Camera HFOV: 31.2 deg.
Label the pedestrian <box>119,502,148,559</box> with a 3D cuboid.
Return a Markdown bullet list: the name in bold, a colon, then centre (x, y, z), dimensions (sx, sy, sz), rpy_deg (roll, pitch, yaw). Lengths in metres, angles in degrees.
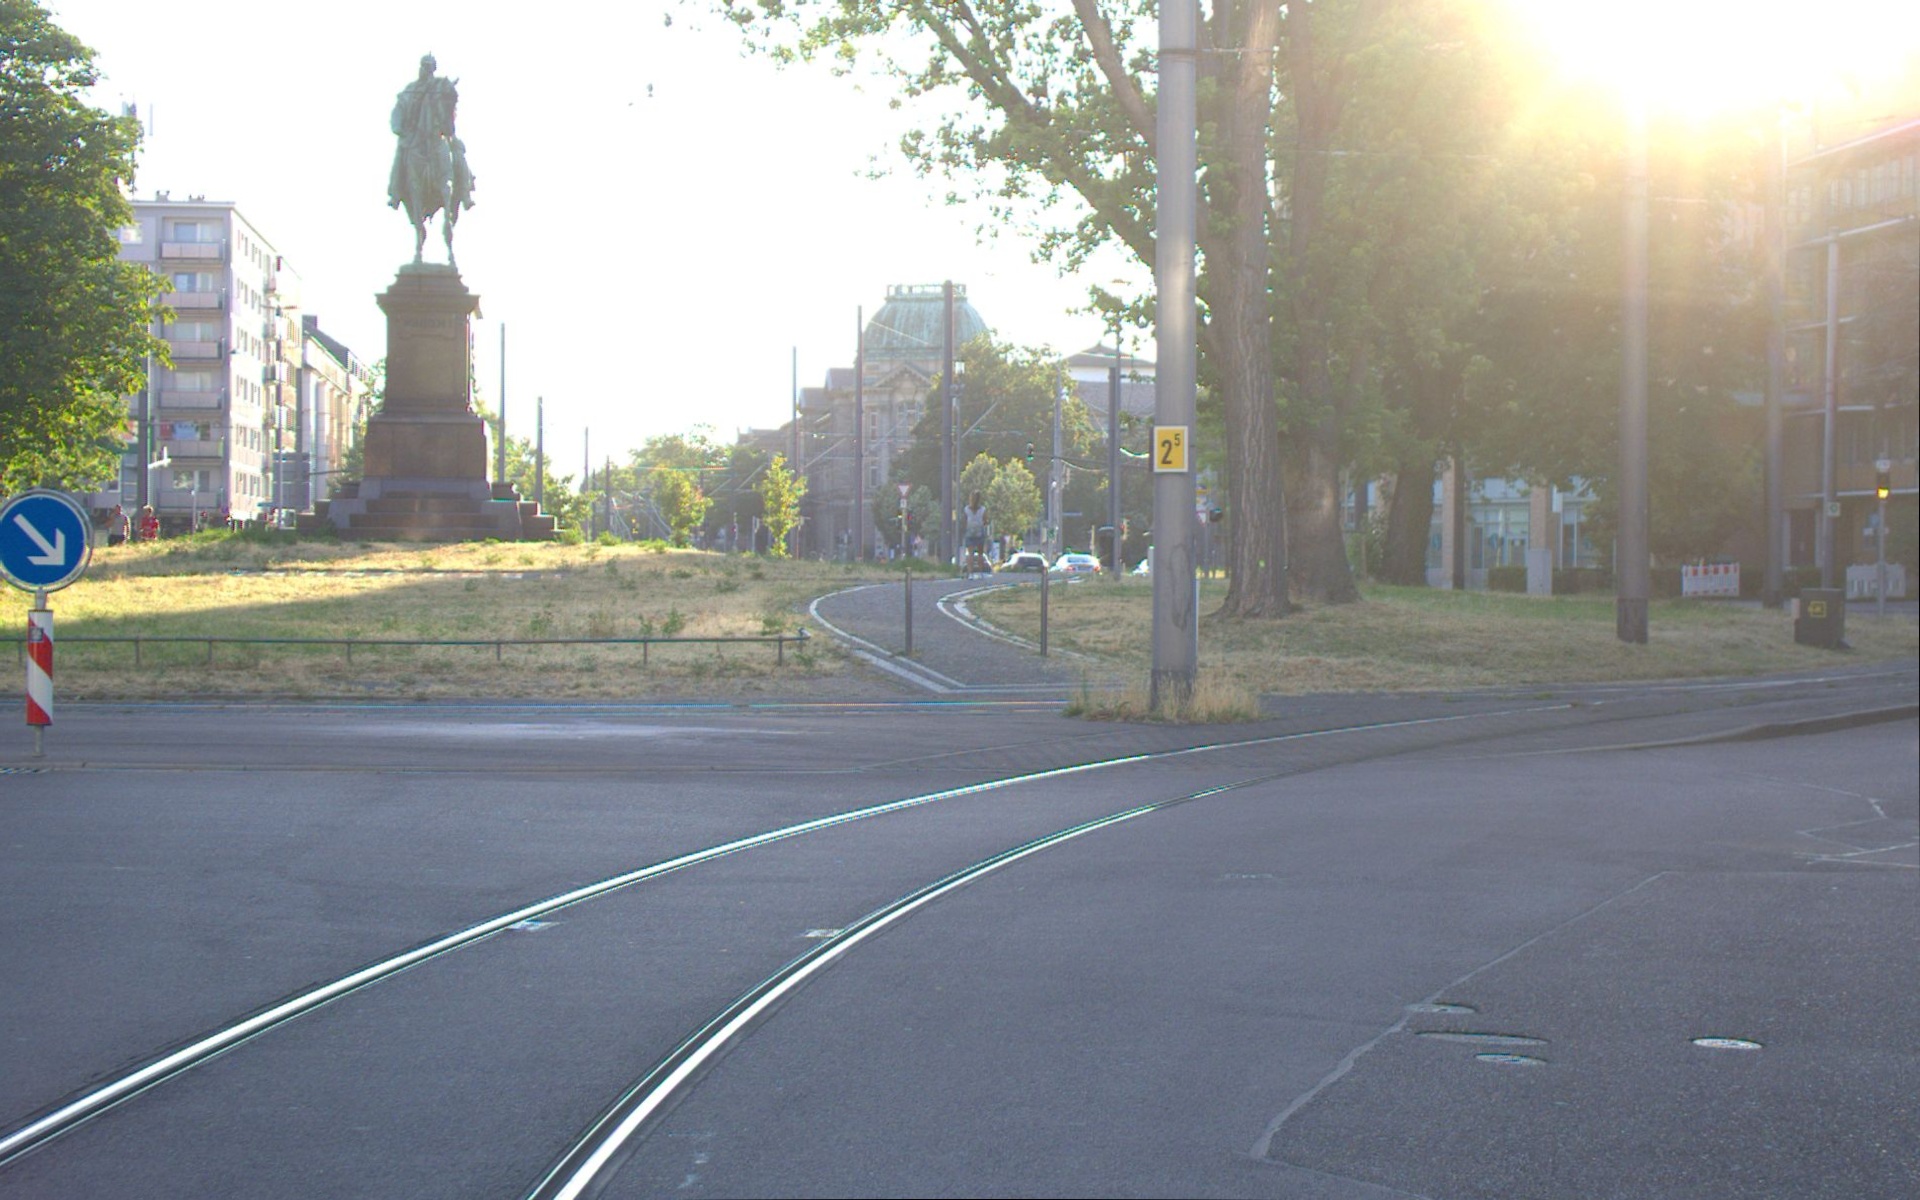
- **pedestrian**: centre (-23.210, -1.952, 96.519), dimensions (0.769, 1.600, 0.638), rpy_deg (0, 1, -13)

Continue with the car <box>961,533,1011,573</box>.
- **car**: centre (1.330, -2.441, 177.743), dimensions (2.138, 2.007, 4.001), rpy_deg (1, 1, -6)

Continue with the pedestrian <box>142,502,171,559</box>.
- **pedestrian**: centre (-22.429, -1.936, 95.965), dimensions (0.769, 1.600, 0.638), rpy_deg (0, 1, -13)

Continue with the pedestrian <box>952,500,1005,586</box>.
- **pedestrian**: centre (0.344, -1.067, 64.388), dimensions (0.638, 1.600, 0.770), rpy_deg (1, 2, 41)

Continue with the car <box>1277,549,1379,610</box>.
- **car**: centre (12.237, -0.696, 114.442), dimensions (1.993, 1.963, 4.001), rpy_deg (0, 1, -16)

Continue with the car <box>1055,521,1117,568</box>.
- **car**: centre (5.491, -2.448, 150.390), dimensions (2.138, 2.007, 4.001), rpy_deg (1, 1, -6)

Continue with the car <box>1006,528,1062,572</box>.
- **car**: centre (3.514, -2.380, 163.458), dimensions (2.138, 2.007, 4.001), rpy_deg (1, 1, -6)
